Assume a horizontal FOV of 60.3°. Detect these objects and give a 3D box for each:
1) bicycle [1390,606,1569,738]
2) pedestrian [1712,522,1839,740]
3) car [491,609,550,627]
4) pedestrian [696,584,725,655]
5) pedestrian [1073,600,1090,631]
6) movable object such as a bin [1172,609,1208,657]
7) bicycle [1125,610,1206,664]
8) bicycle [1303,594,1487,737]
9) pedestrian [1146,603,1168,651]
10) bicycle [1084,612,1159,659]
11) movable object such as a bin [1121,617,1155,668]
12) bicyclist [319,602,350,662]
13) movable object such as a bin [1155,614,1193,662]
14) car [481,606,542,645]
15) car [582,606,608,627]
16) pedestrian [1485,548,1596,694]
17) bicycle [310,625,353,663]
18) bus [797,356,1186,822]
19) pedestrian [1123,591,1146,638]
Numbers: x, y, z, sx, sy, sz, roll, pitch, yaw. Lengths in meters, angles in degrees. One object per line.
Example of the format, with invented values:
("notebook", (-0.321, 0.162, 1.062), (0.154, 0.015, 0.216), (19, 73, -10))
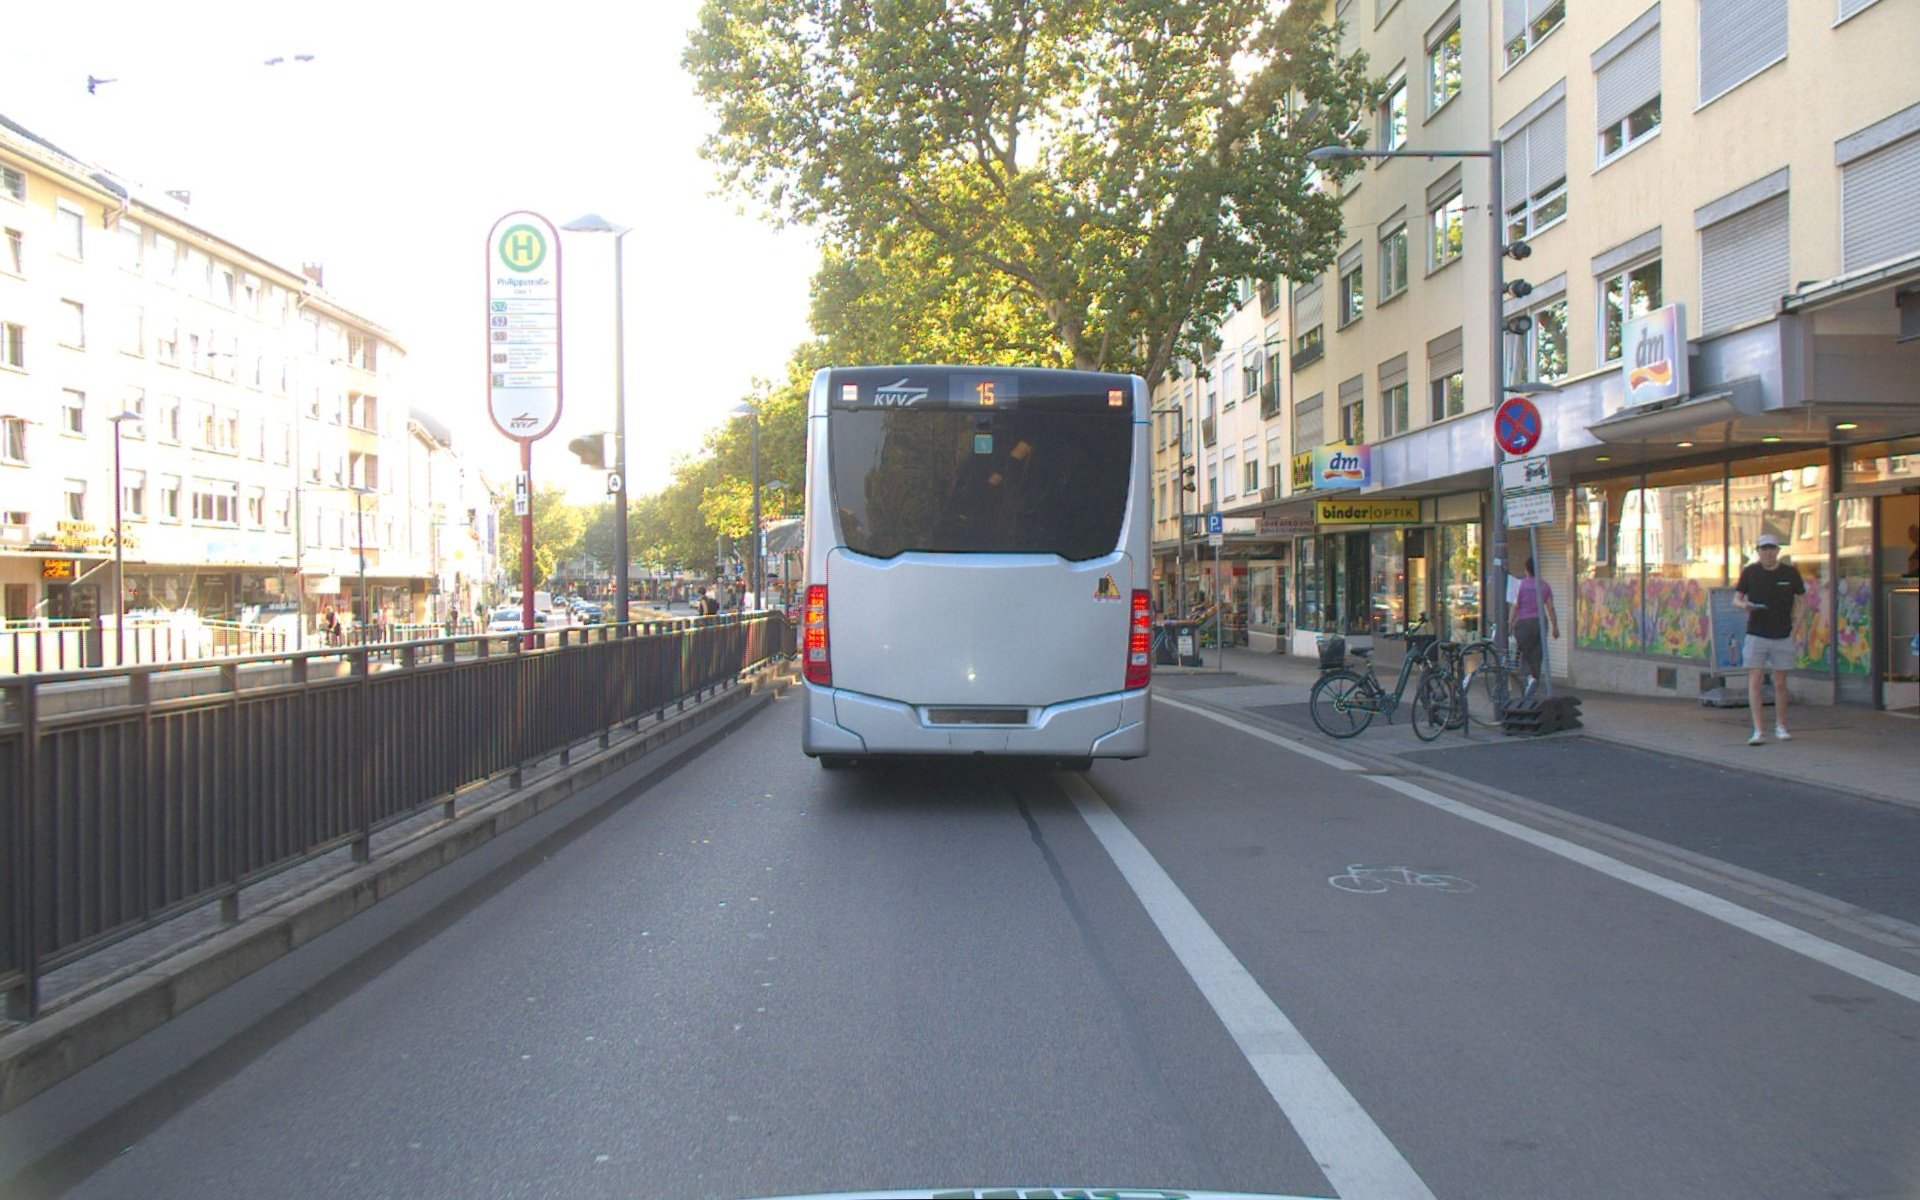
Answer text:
("bicycle", (5.383, 0.731, 17.109), (1.768, 1.144, 0.658), (-6, 0, -29))
("pedestrian", (7.181, 0.257, 14.601), (0.757, 1.831, 0.931), (-4, 1, 17))
("car", (-37.220, 1.485, 140.079), (1.966, 1.437, 4.520), (-1, 0, 44))
("pedestrian", (-6.669, 0.514, 44.254), (0.727, 1.881, 0.589), (-1, 0, -8))
("pedestrian", (5.285, 0.671, 71.826), (0.572, 1.297, 0.757), (1, 0, -8))
("movable object such as a bin", (5.380, 0.772, 38.696), (0.707, 1.090, 0.644), (-3, -1, 17))
("bicycle", (4.590, 0.833, 37.032), (1.683, 1.137, 0.745), (-1, -4, -2))
("bicycle", (4.670, 0.701, 17.857), (1.749, 1.334, 0.694), (-6, 0, 10))
("pedestrian", (6.868, 0.943, 57.707), (0.610, 1.614, 0.626), (-3, 0, -3))
("bicycle", (4.197, 0.926, 43.070), (1.867, 1.124, 0.518), (-3, 0, 4))
("movable object such as a bin", (4.186, 0.992, 38.981), (0.707, 1.121, 0.644), (-5, 0, 5))
("bicyclist", (-21.883, 1.112, 57.875), (0.748, 2.049, 0.911), (-1, 0, -3))
("movable object such as a bin", (5.052, 0.890, 39.092), (0.708, 1.090, 0.643), (-4, 0, -4))
("car", (-21.706, 1.227, 80.186), (1.954, 1.747, 4.433), (-1, 0, -3))
("car", (-29.571, 1.345, 134.075), (1.690, 1.535, 3.470), (-3, 0, -8))
("pedestrian", (7.459, 0.266, 21.306), (0.948, 1.794, 1.133), (-2, -1, -1))
("bicycle", (-21.877, 1.514, 57.630), (0.703, 1.251, 2.277), (-1, 0, -3))
("bus", (0.002, -0.102, 14.787), (2.625, 3.137, 7.108), (-1, 0, -4))
("pedestrian", (6.066, 0.498, 57.640), (0.623, 1.614, 0.626), (-3, 0, -3))
